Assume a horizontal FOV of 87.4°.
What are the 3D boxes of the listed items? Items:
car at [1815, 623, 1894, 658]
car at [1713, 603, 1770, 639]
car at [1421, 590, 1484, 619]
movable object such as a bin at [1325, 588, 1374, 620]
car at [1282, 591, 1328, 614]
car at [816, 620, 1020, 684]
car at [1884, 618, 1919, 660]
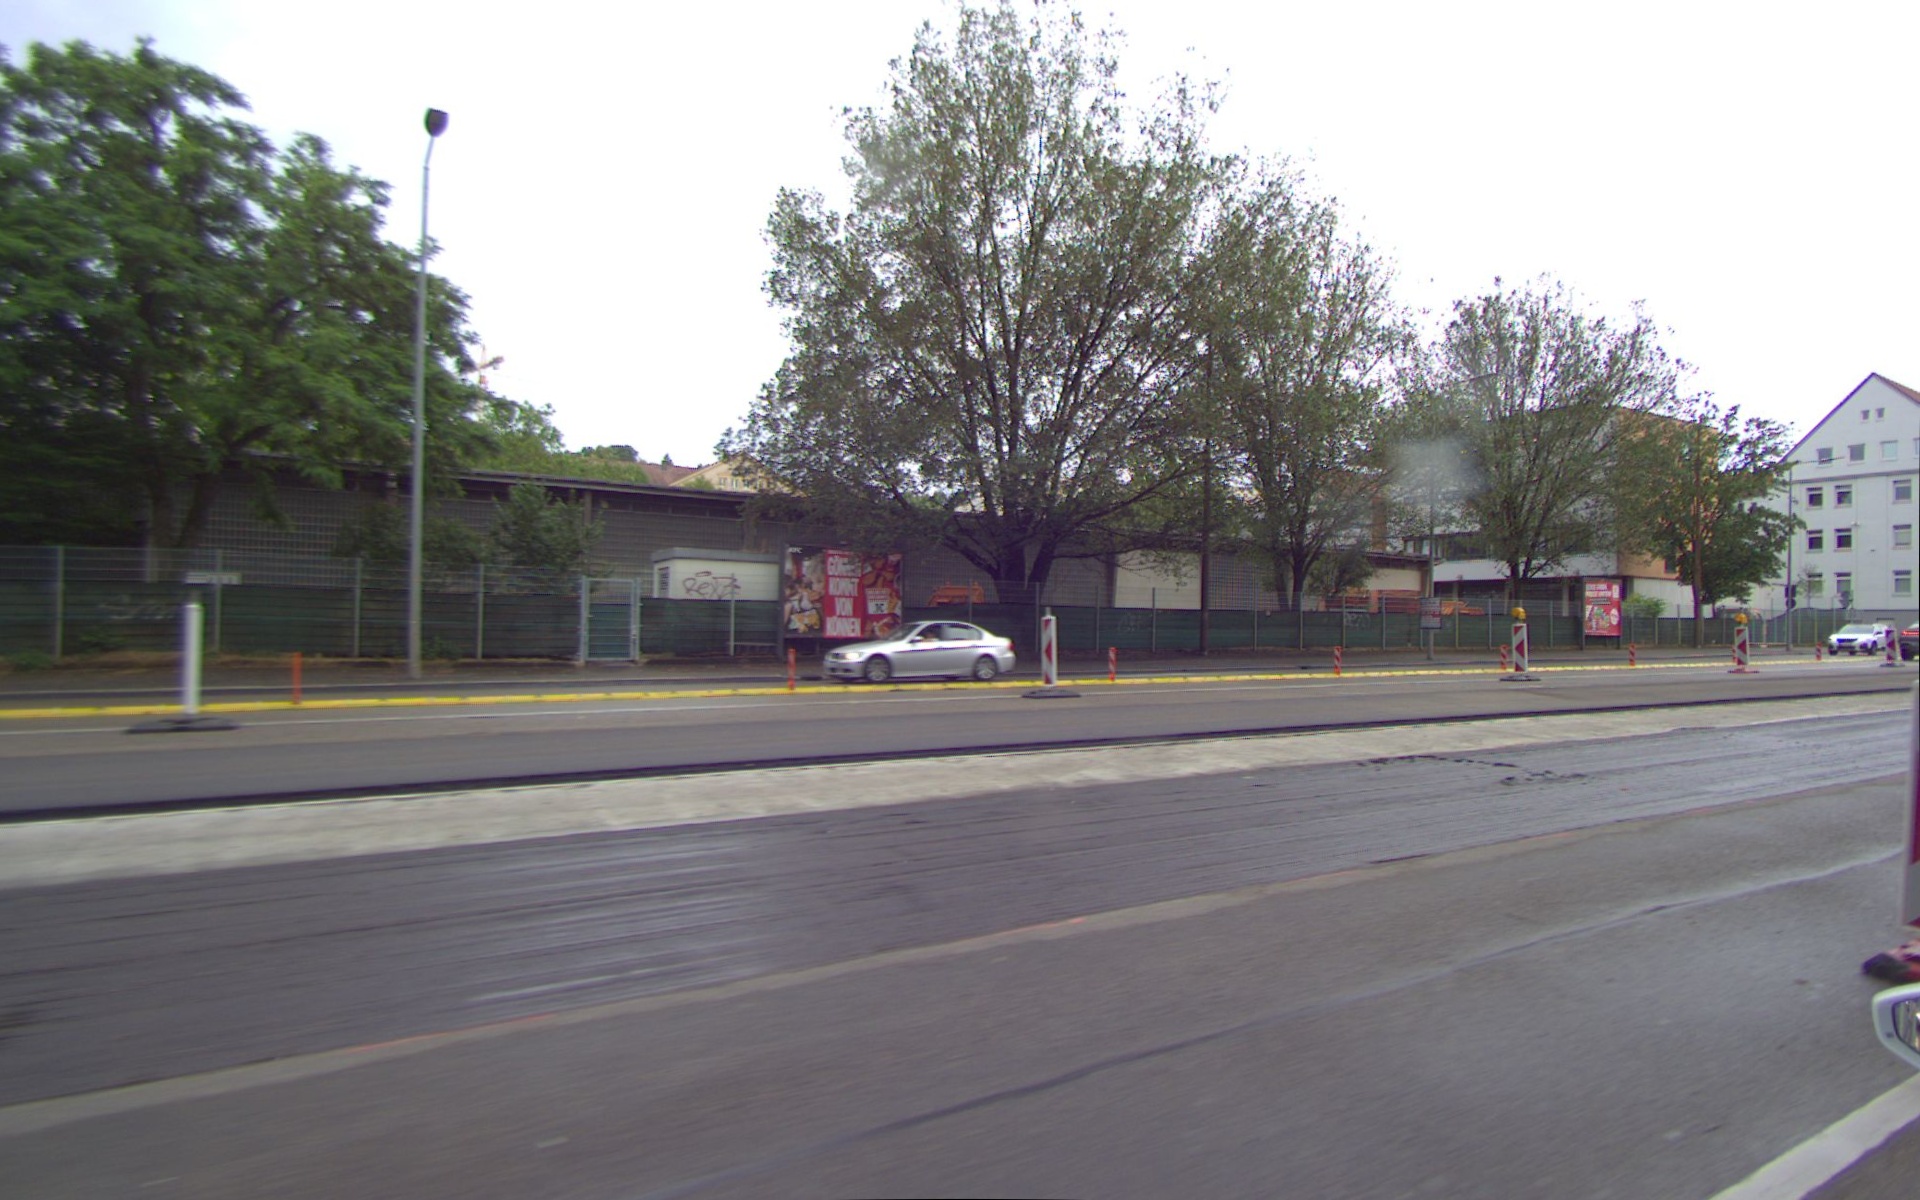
[{"bbox_3d":[47.101,2.148,52.859,4.314,1.728,1.850,1,-3,-31],"label":"car"},{"bbox_3d":[49.285,1.347,63.324,3.955,2.199,1.601,1,-1,-32],"label":"car"},{"bbox_3d":[27.332,0.287,55.845,1.959,1.548,4.026,0,-1,8],"label":"car"},{"bbox_3d":[19.453,0.241,50.316,1.718,1.548,4.026,0,-1,12],"label":"movable object such as a bin"},{"bbox_3d":[17.394,0.136,50.797,1.718,1.076,4.026,0,-1,12],"label":"car"},{"bbox_3d":[-0.916,1.179,22.897,4.403,1.332,1.659,1,-3,-30],"label":"car"},{"bbox_3d":[40.022,1.604,41.272,4.344,1.672,1.884,1,-1,-30],"label":"car"}]
